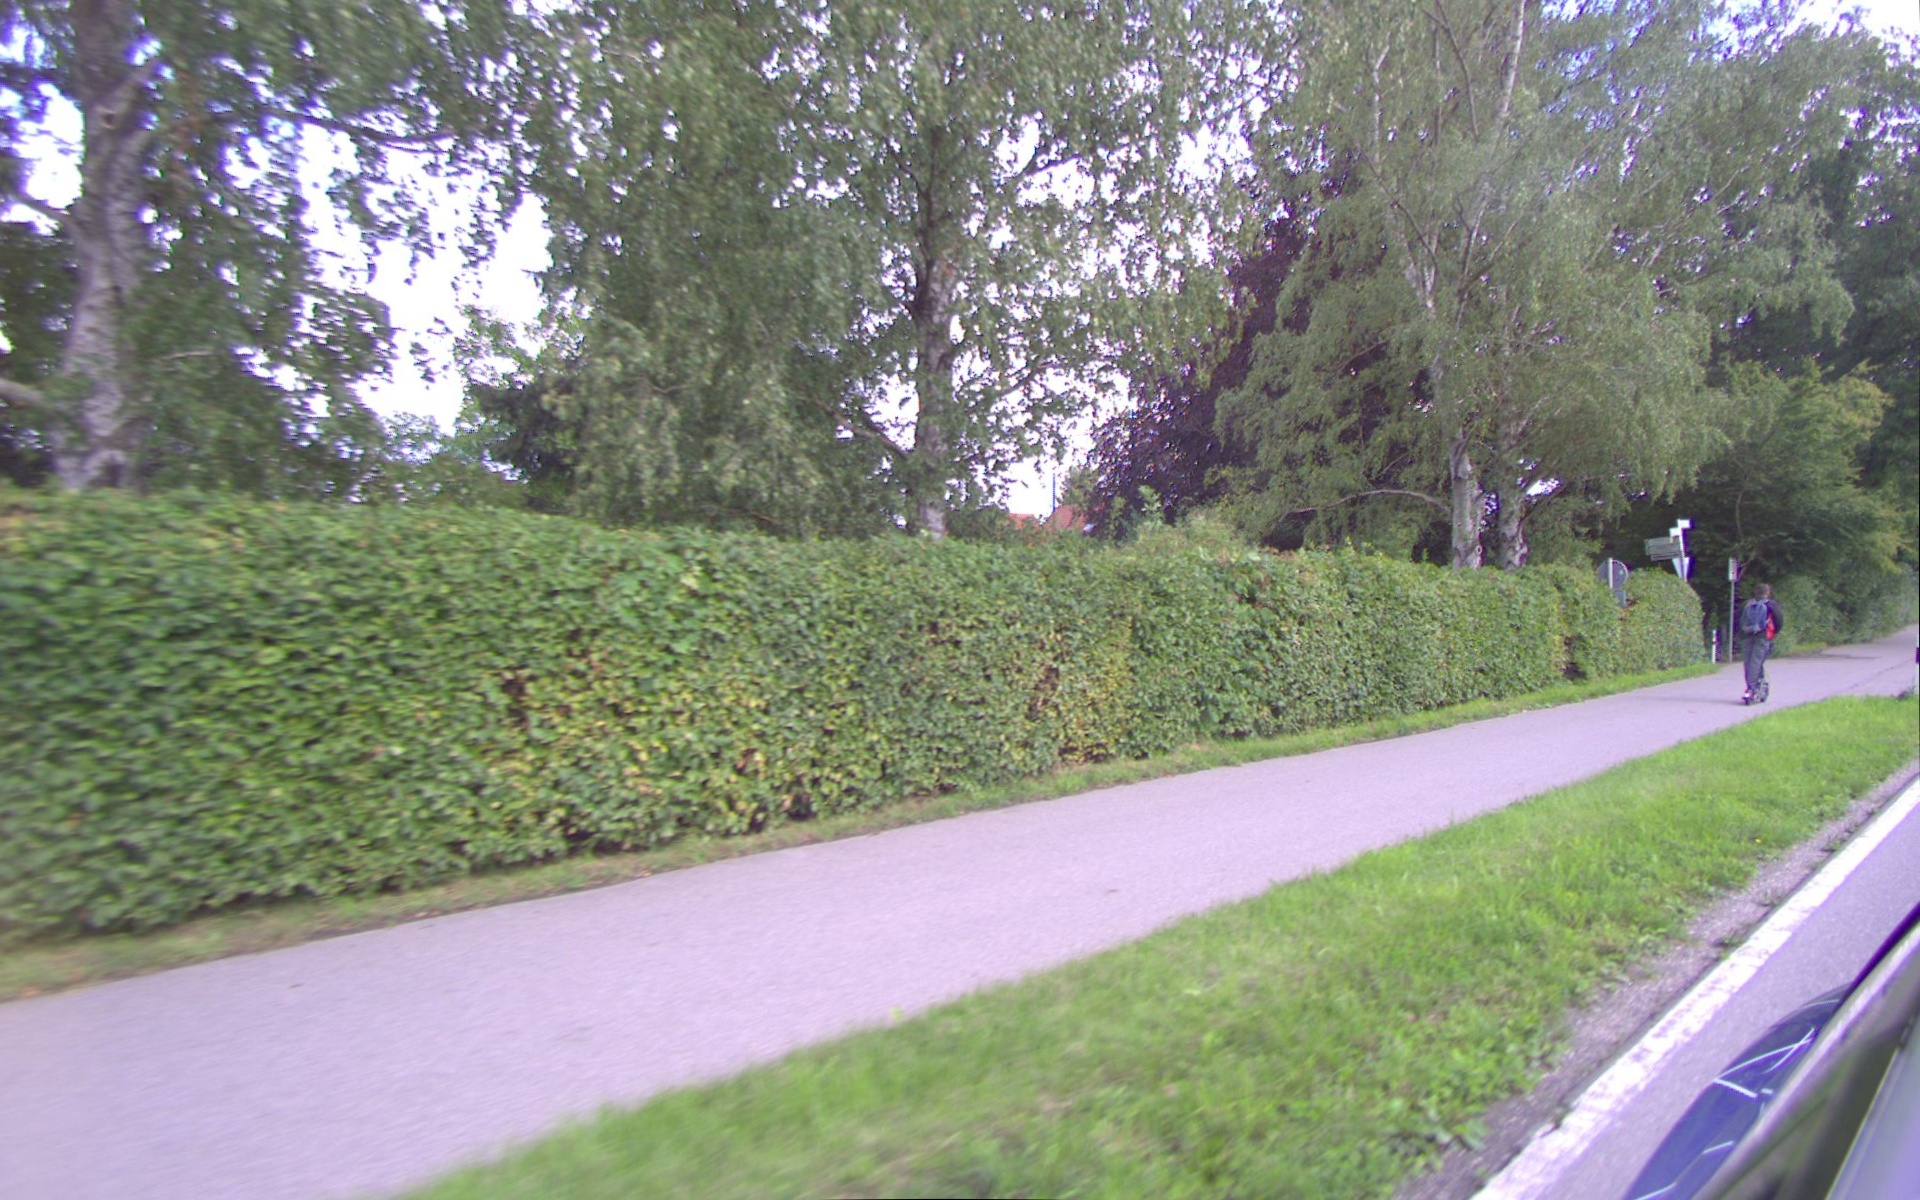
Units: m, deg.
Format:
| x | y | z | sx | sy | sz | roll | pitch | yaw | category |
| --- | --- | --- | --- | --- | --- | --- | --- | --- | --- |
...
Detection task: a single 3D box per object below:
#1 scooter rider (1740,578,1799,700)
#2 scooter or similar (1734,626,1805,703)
| x | y | z | sx | sy | sz | roll | pitch | yaw | category |
| --- | --- | --- | --- | --- | --- | --- | --- | --- | --- |
| 13.580 | 0.629 | 16.972 | 0.772 | 1.990 | 0.643 | 0 | 0 | -41 | scooter rider |
| 13.619 | 1.051 | 17.010 | 1.666 | 1.179 | 0.649 | 0 | 0 | -41 | scooter or similar |
